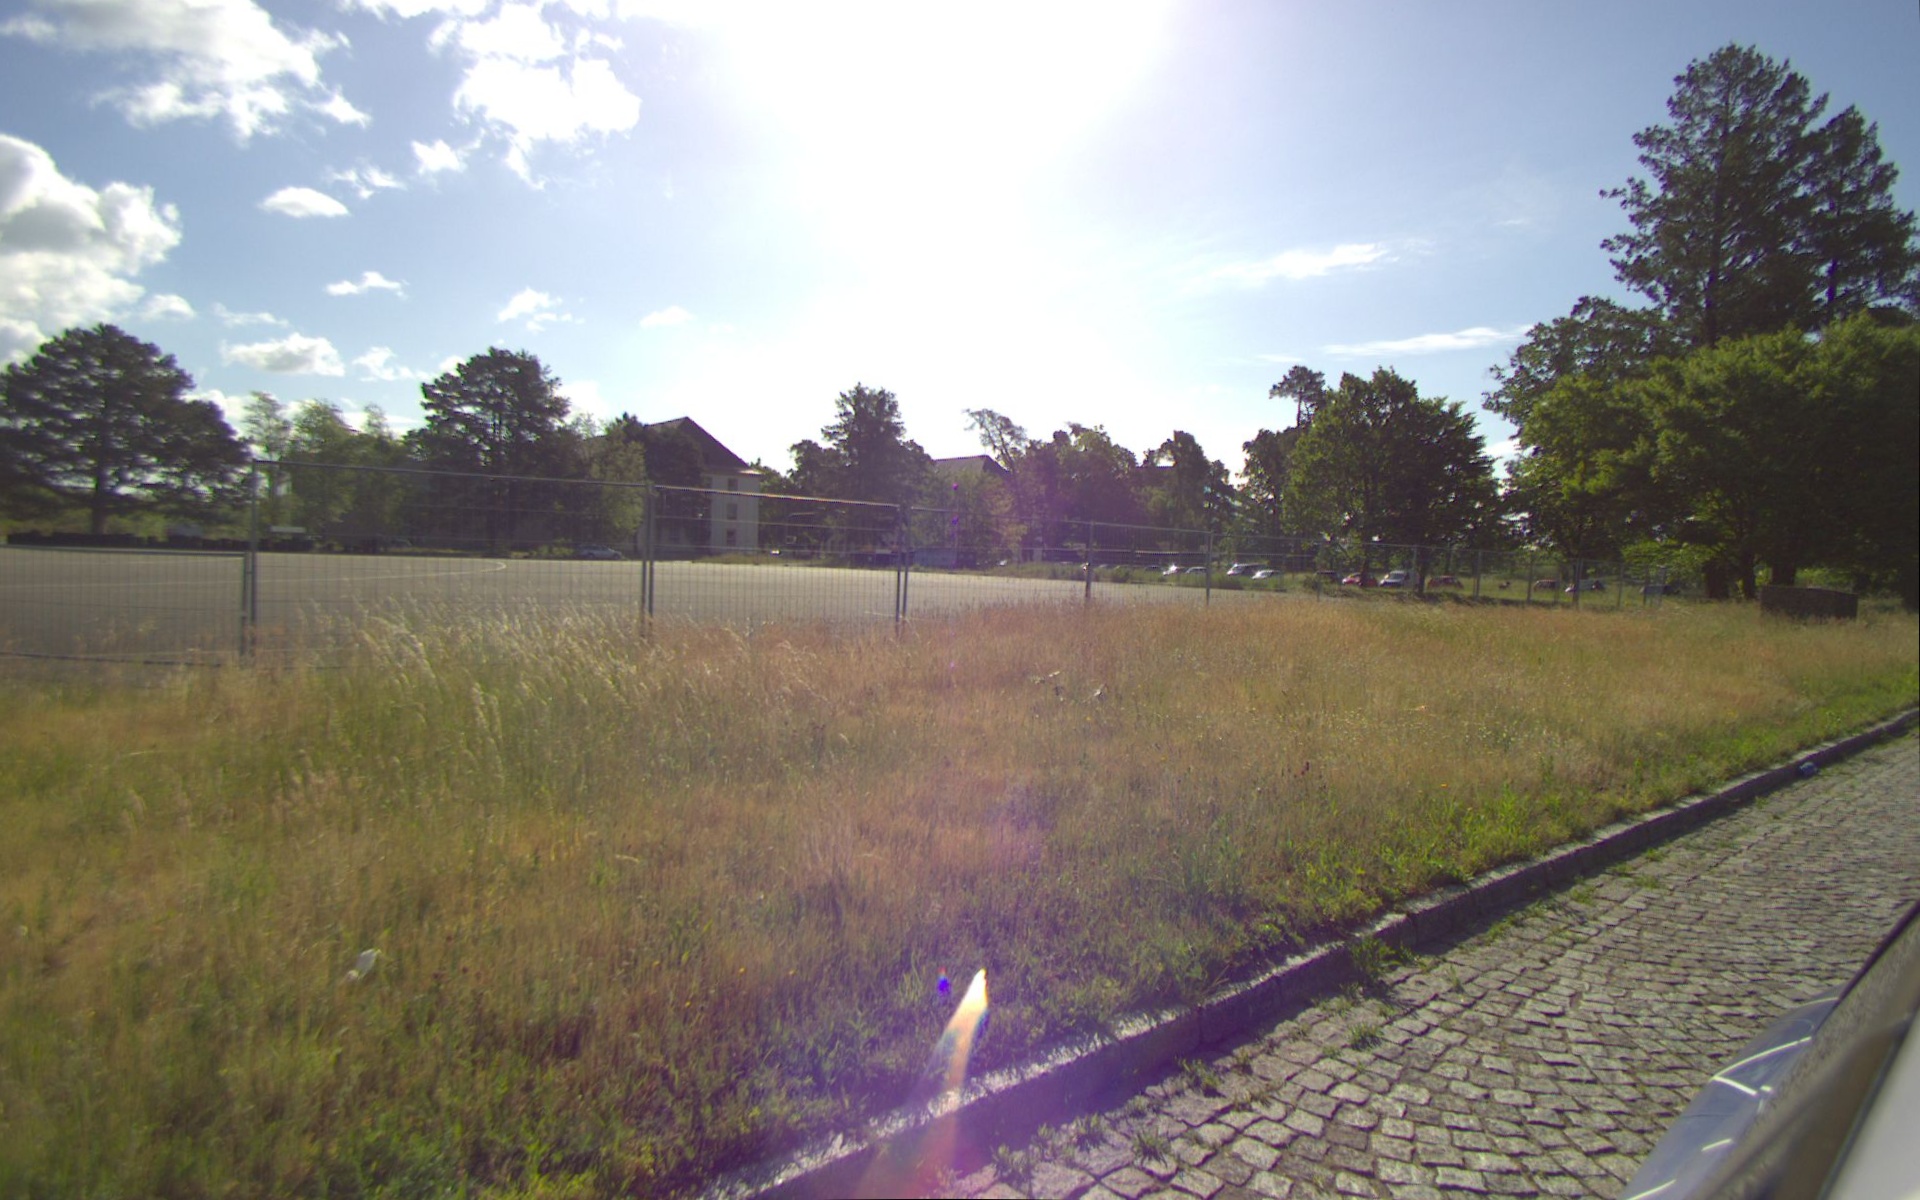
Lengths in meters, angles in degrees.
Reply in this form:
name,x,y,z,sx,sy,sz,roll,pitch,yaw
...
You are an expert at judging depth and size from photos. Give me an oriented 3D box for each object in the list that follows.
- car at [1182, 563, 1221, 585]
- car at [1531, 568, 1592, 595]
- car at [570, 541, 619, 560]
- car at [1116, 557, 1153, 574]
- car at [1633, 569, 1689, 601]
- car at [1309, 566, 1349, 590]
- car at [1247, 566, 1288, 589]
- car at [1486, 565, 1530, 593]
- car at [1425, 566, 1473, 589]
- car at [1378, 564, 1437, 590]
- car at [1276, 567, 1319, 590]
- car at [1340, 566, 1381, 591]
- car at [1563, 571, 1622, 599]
name,x,y,z,sx,sy,sz,roll,pitch,yaw
car,23.846,-2.583,99.859,3.781,2.038,1.742,0,3,-38
car,44.642,-1.338,75.091,4.267,1.861,2.248,0,3,-36
car,-35.066,-4.744,97.199,3.933,1.601,1.996,-1,3,-43
car,18.343,-3.668,106.366,3.781,1.678,1.742,0,3,-38
car,47.976,-1.048,69.237,4.276,2.038,2.243,-1,3,-43
car,32.392,-1.935,88.803,3.556,2.038,1.741,0,3,-40
car,28.467,-2.084,93.610,3.783,2.038,1.741,0,3,-40
car,42.410,-1.617,78.318,3.556,2.038,1.741,0,3,-40
car,39.164,-1.792,80.966,3.929,1.671,1.998,0,3,-40
car,37.329,-1.974,84.353,5.927,2.038,1.998,-2,2,-39
car,30.955,-1.967,92.717,3.930,2.038,1.998,0,3,-41
car,34.394,-1.876,86.821,3.556,2.038,1.741,0,3,-40
car,45.495,-1.073,72.739,4.271,1.861,2.246,0,3,-39
